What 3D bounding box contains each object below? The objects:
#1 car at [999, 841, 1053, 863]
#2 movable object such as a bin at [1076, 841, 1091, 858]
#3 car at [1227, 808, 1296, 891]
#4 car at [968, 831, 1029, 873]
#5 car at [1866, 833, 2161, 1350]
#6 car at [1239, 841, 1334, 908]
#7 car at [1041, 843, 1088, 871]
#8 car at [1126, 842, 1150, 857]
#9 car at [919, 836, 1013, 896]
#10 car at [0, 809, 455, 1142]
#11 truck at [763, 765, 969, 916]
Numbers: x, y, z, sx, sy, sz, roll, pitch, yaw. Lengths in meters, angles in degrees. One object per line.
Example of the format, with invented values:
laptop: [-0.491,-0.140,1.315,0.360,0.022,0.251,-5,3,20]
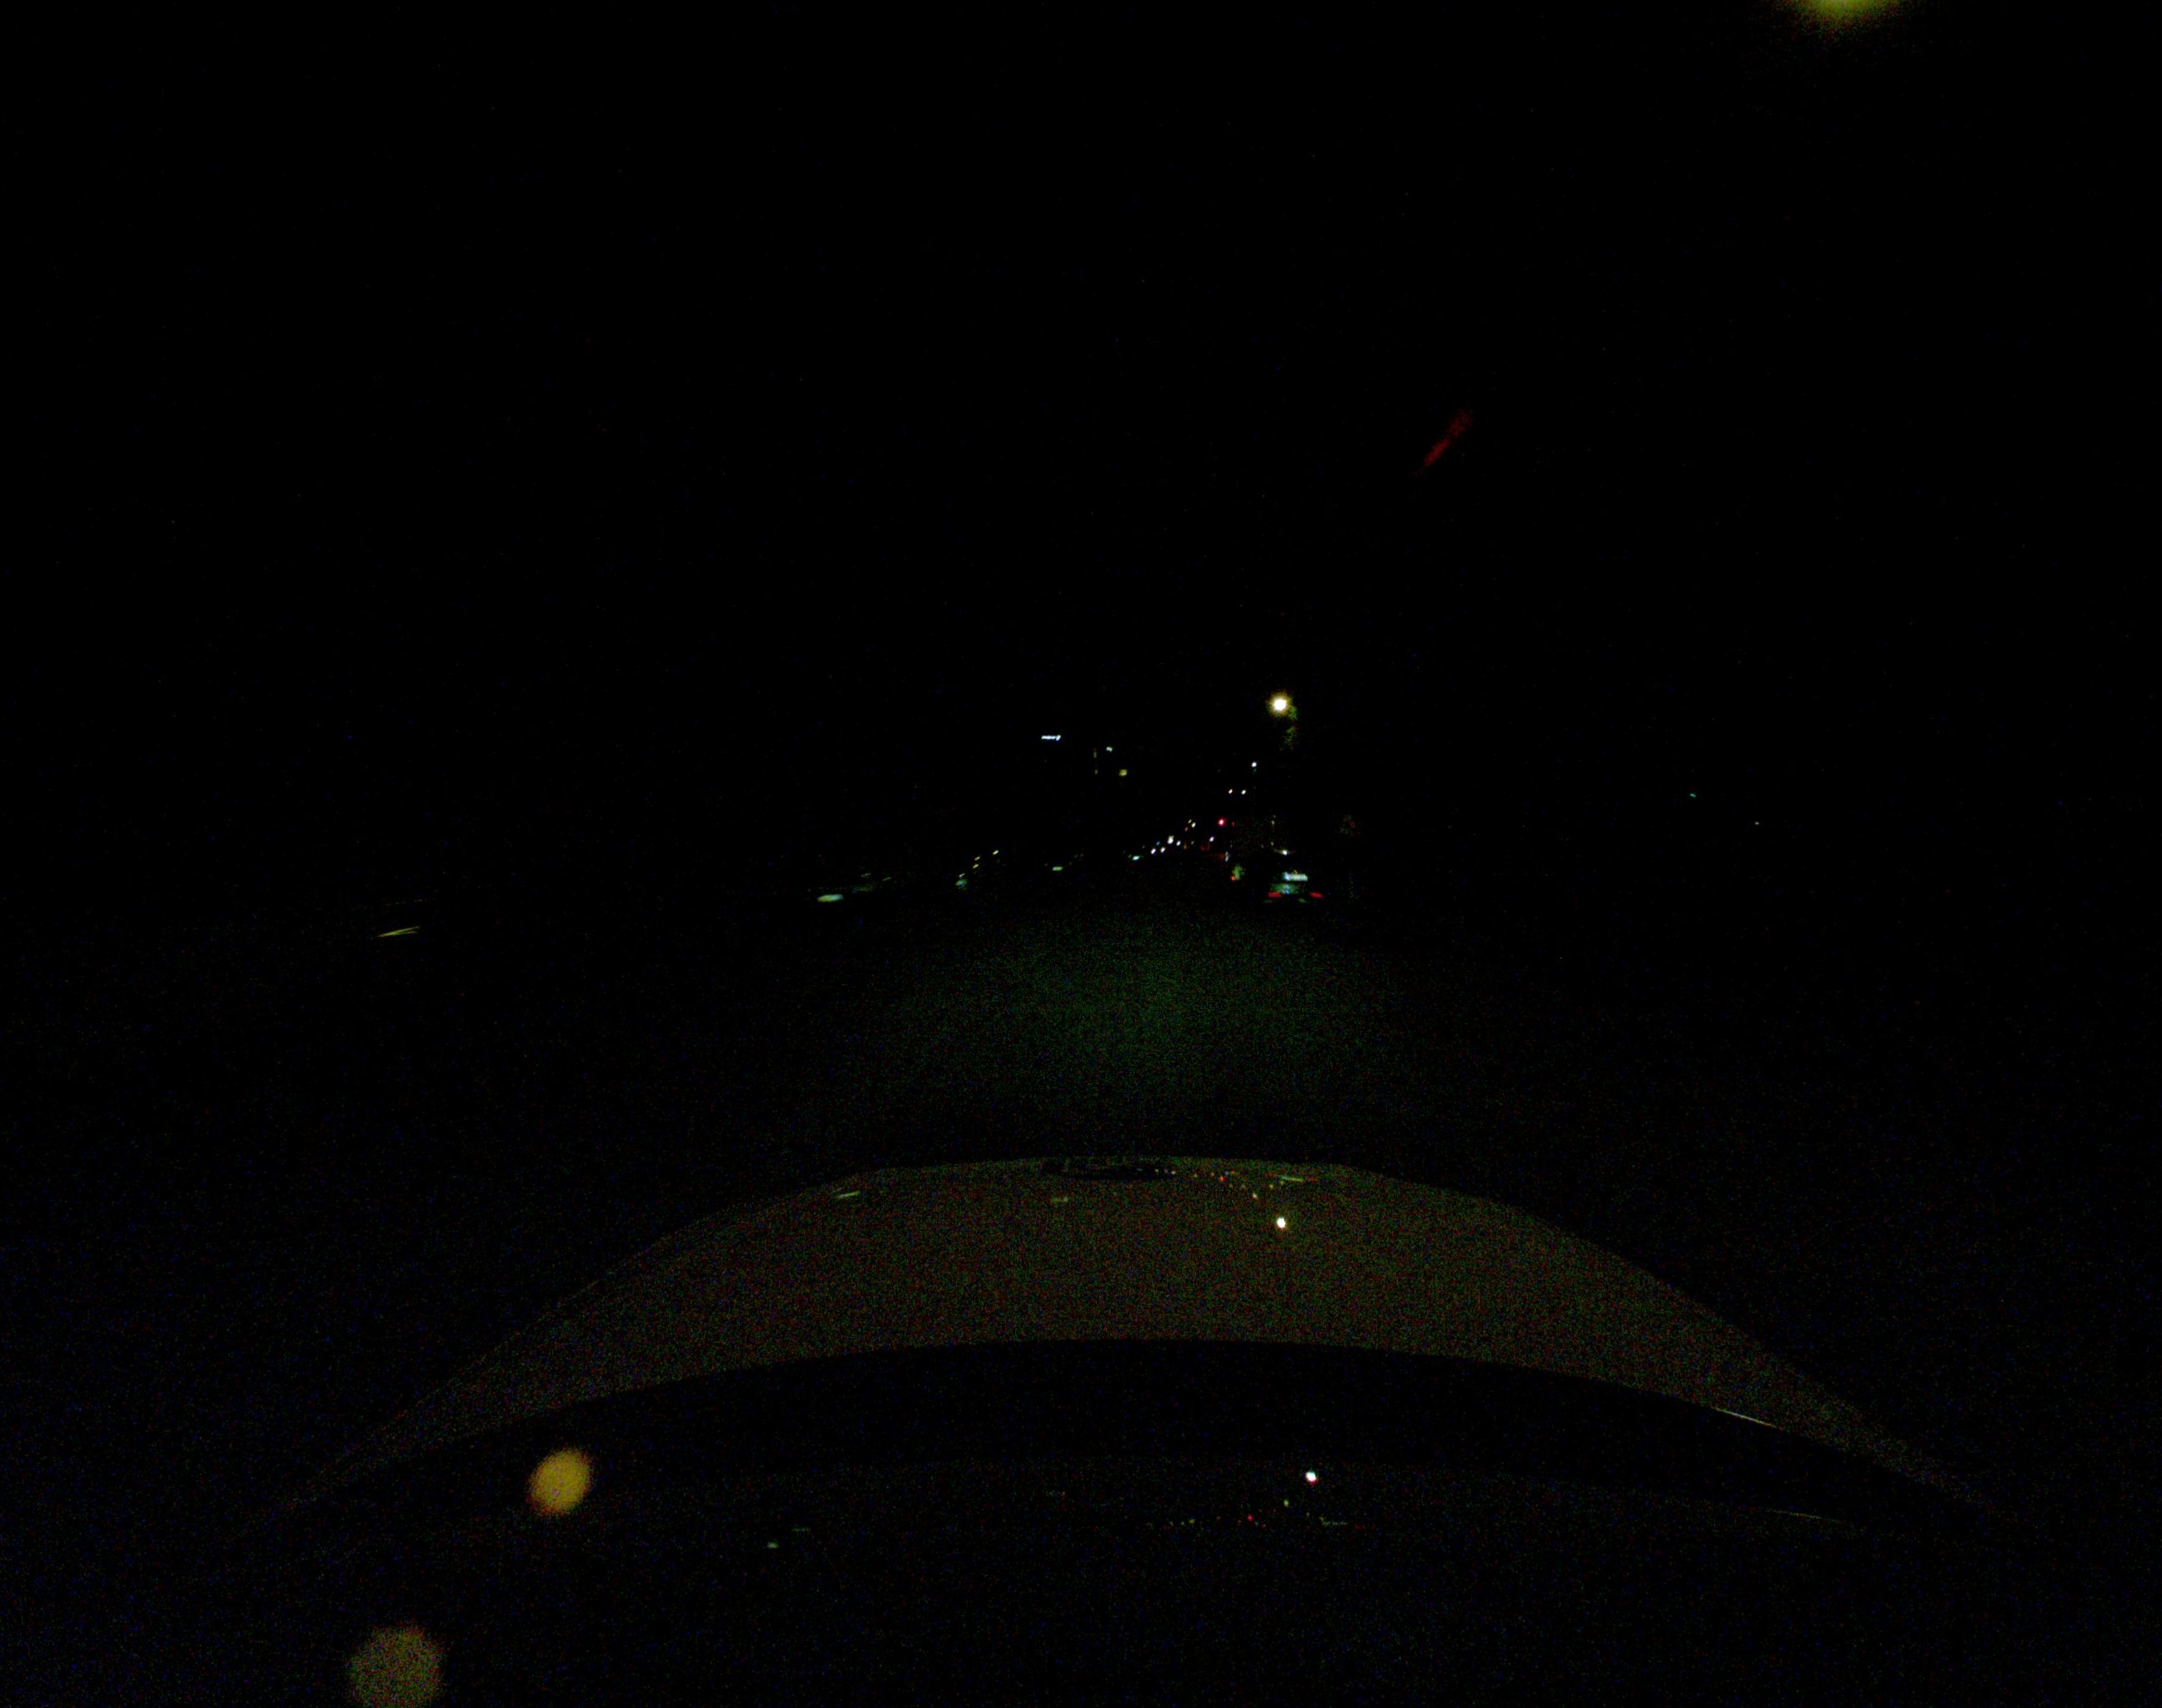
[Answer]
car: [-4.490,-0.163,66.757,3.963,1.571,1.822,-2,1,9]
movable object such as a bin: [0.224,-0.416,73.524,1.158,1.495,1.068,-2,1,7]
car: [6.060,-0.182,27.979,2.008,2.526,6.068,0,1,9]
car: [-4.954,-0.142,49.439,1.979,2.321,4.986,-3,0,14]
car: [4.018,0.701,1.281,1.706,1.508,3.998,0,1,-1]
car: [5.129,0.440,20.920,1.702,1.508,4.648,-1,1,6]
car: [-0.880,0.158,46.017,1.743,1.526,4.336,-1,0,12]
car: [6.017,-0.497,85.418,1.899,1.404,4.351,-2,1,11]
car: [-3.823,0.337,28.015,1.818,1.816,4.851,-2,1,9]
car: [-6.758,0.661,5.100,1.987,1.771,4.692,-1,1,0]
truck: [-5.269,-0.339,21.615,2.529,3.280,7.329,-1,1,8]
